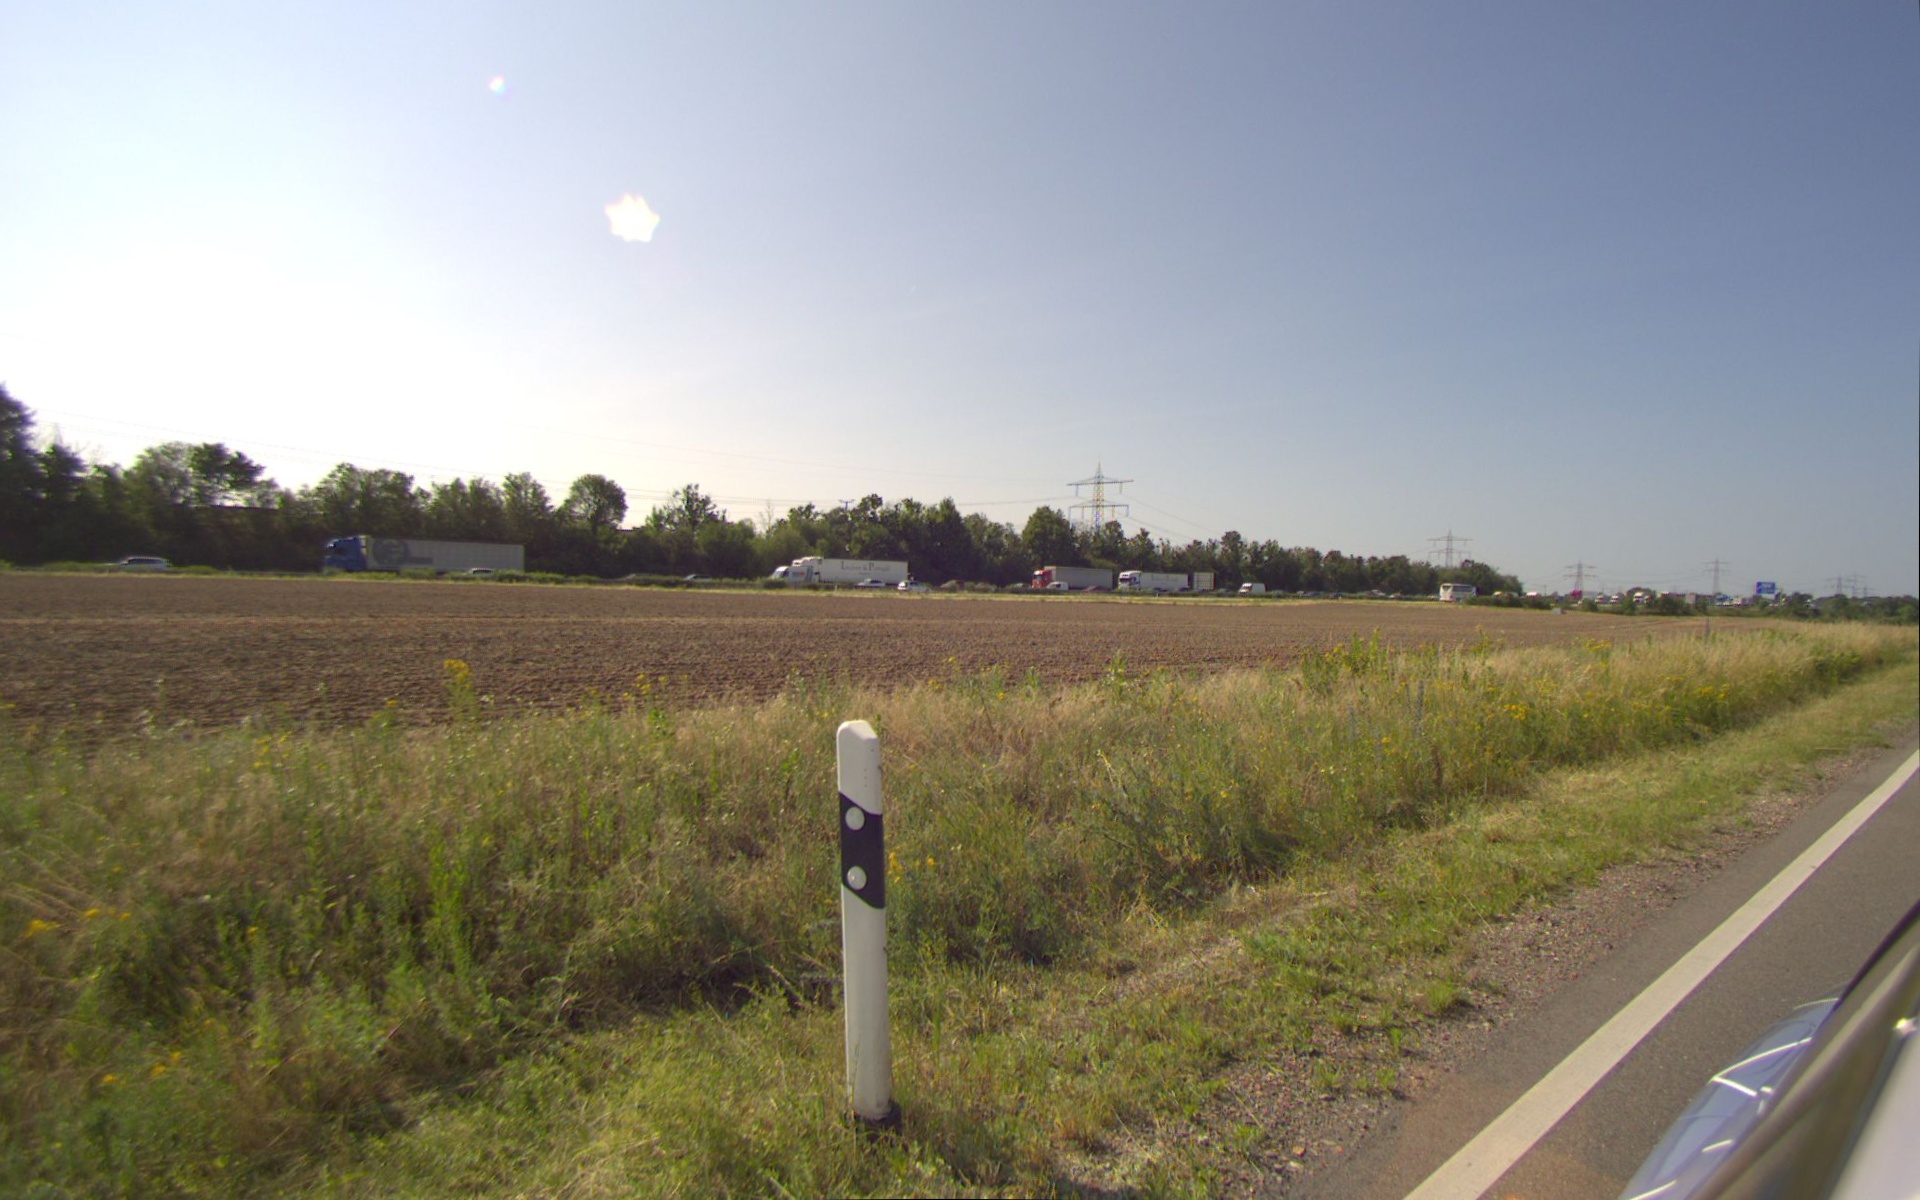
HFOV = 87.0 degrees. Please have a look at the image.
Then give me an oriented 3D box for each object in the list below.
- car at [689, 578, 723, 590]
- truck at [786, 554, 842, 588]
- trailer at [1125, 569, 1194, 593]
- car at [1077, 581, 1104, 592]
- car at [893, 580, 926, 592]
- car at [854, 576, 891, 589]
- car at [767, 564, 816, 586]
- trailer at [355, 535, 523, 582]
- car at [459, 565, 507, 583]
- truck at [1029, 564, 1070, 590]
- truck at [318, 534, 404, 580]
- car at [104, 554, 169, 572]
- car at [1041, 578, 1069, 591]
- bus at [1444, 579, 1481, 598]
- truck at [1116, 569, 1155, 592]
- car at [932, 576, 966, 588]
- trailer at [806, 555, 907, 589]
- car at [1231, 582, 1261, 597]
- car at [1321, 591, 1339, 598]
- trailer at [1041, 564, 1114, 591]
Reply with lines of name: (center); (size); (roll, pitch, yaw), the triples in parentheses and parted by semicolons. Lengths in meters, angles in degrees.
car: (-26.072, -1.634, 103.916); (3.128, 1.166, 1.396); (1, 0, -43)
truck: (-17.516, -3.465, 121.513); (6.012, 3.780, 3.077); (1, 1, -42)
trailer: (33.350, -3.102, 168.760); (14.830, 3.575, 3.206); (1, 2, -44)
car: (18.944, -1.966, 146.860); (4.024, 1.528, 1.705); (0, 0, -43)
car: (-5.628, -1.585, 112.967); (3.558, 1.250, 1.547); (1, -2, -43)
car: (-10.349, -2.060, 120.308); (4.176, 1.403, 1.852); (1, 0, -43)
car: (-18.553, -2.721, 111.505); (5.149, 2.228, 1.907); (1, -1, -43)
trailer: (-47.793, -3.720, 93.328); (13.393, 3.780, 3.077); (1, 1, -42)
car: (-41.855, -2.277, 88.898); (3.542, 1.403, 1.493); (1, -1, -43)
truck: (13.280, -3.403, 150.191); (5.770, 3.780, 2.949); (1, 1, -43)
truck: (-52.637, -3.754, 89.015); (5.981, 3.780, 3.077); (1, 1, -42)
car: (-59.262, -2.657, 72.839); (3.520, 1.166, 1.396); (1, 0, -42)
car: (13.244, -2.147, 141.598); (4.025, 1.659, 1.704); (0, 0, -44)
bus: (108.431, -2.441, 218.126); (14.304, 3.851, 2.465); (1, 1, -44)
truck: (28.431, -3.151, 164.064); (6.006, 3.575, 3.207); (1, 2, -43)
car: (-1.444, -2.264, 128.718); (4.176, 1.403, 1.852); (1, 0, -43)
trailer: (-12.740, -3.427, 125.849); (13.135, 3.780, 3.076); (1, 1, -42)
car: (50.120, -1.843, 177.549); (6.303, 2.478, 2.040); (1, 0, -42)
car: (65.622, -0.956, 179.492); (3.558, 1.250, 1.547); (1, -2, -43)
trailer: (18.101, -3.352, 154.709); (13.549, 3.780, 2.949); (1, 1, -43)
